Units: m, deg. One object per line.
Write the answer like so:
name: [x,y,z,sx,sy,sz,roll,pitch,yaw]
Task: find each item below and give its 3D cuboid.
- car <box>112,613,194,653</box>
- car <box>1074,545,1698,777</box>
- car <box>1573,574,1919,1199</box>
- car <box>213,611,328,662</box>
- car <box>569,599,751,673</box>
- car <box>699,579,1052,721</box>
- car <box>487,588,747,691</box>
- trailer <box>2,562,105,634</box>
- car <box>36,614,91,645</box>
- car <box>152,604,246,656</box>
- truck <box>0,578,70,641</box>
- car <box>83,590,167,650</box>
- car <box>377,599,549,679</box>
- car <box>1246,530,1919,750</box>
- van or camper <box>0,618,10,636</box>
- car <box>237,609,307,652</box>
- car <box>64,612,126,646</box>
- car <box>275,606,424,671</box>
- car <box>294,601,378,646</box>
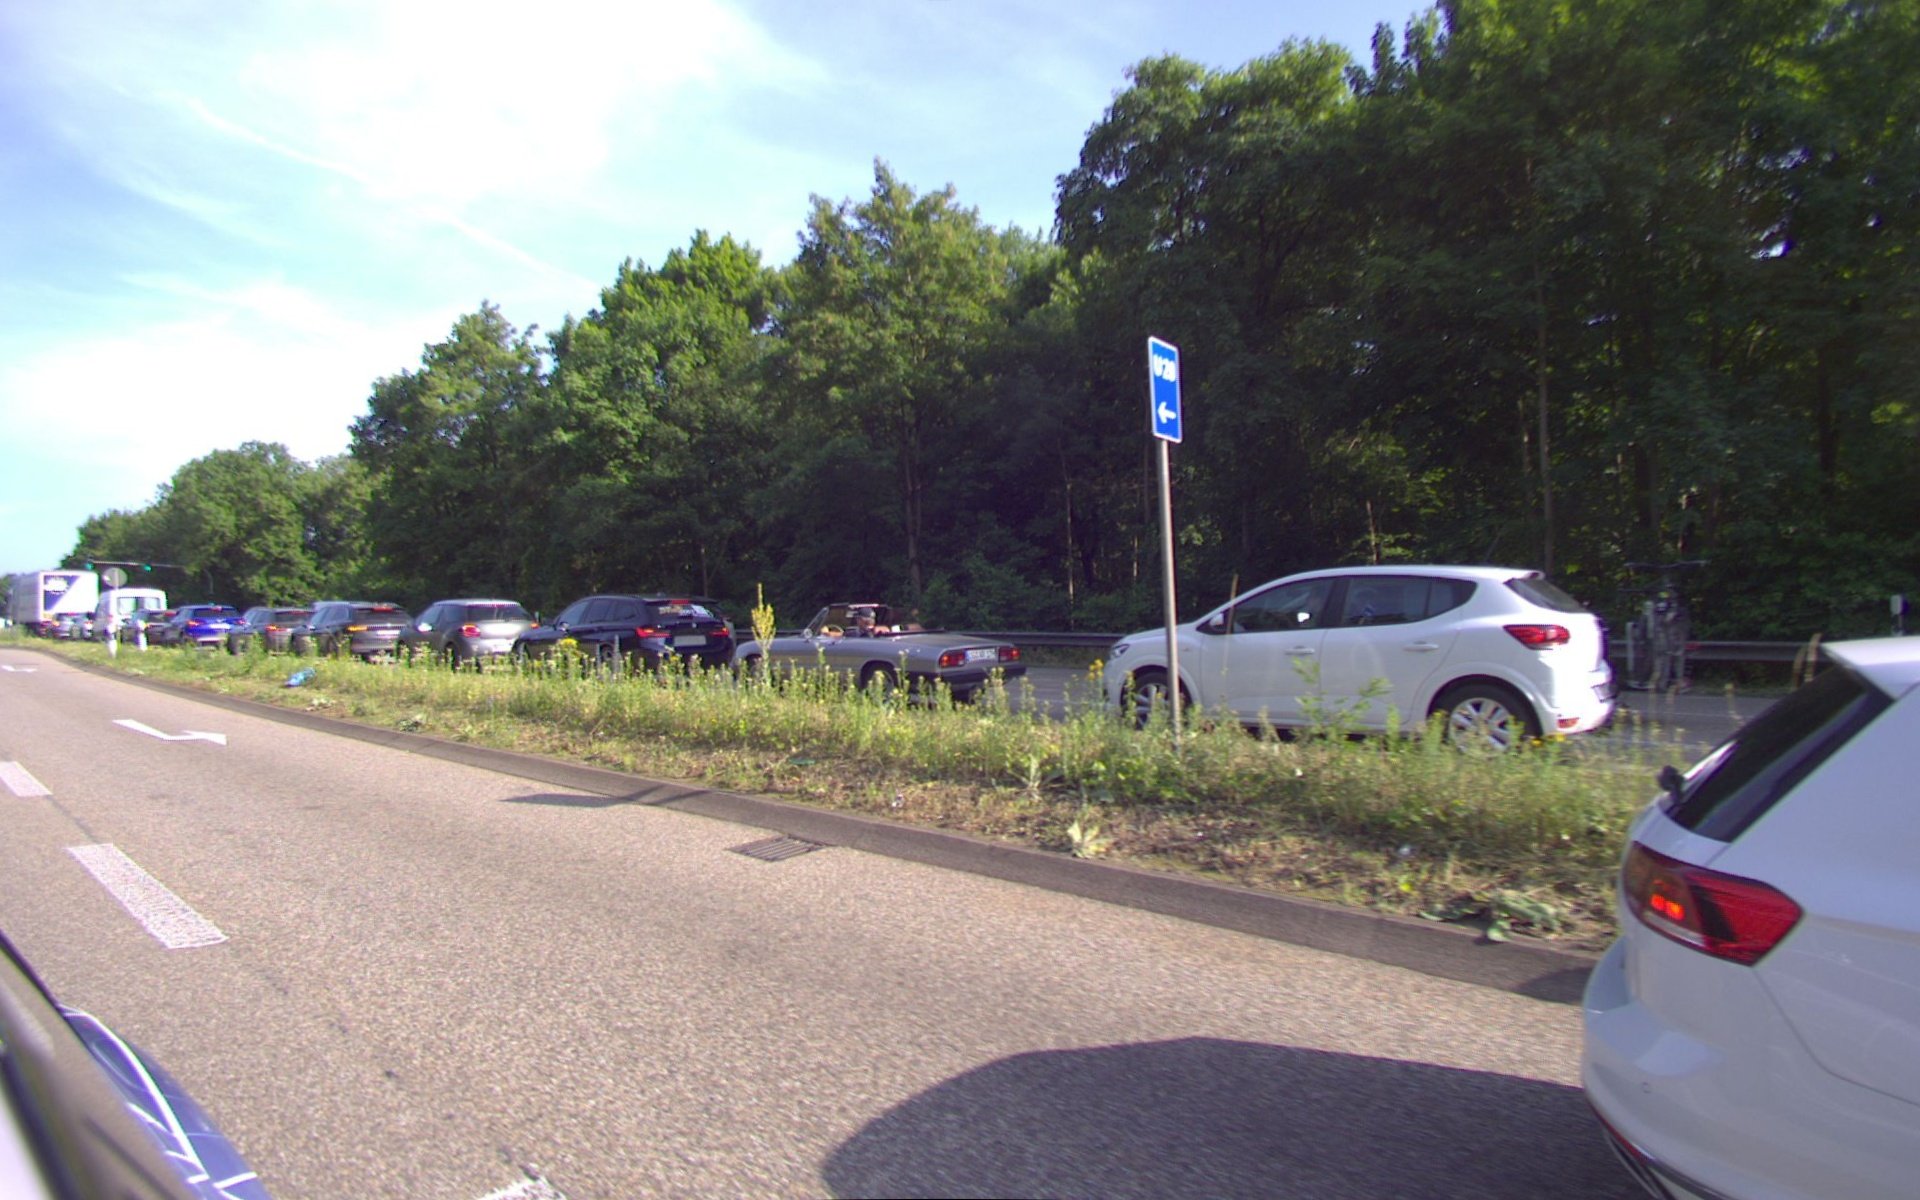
car: [-31.706,1.273,39.713,5.185,1.467,1.741,-2,-2,42]
car: [3.291,0.435,8.419,4.415,1.428,1.847,-2,-2,42]
car: [3.535,0.671,0.930,4.831,1.533,1.851,-2,0,41]
car: [-20.512,1.060,30.011,4.842,1.390,1.752,-2,-2,42]
car: [-6.691,0.768,22.298,4.415,1.472,1.847,-2,-2,42]
car: [-1.180,0.563,12.340,4.433,1.428,1.748,-2,-2,42]
car: [-5.753,0.617,16.552,5.192,1.434,1.748,-2,-2,42]
trailer: [-56.467,0.008,62.844,14.007,4.026,2.961,-2,1,41]
car: [-49.197,1.614,55.502,4.368,1.644,1.682,-2,-2,41]
car: [-26.568,1.035,35.265,4.799,1.682,1.752,-2,-2,42]
truck: [-62.593,0.677,68.244,6.717,4.027,2.861,-2,1,41]
car: [-37.636,0.933,45.538,6.162,2.553,2.053,-2,-2,42]
car: [-10.041,0.757,20.304,4.210,1.434,1.688,-2,-2,42]
car: [6.315,0.382,10.392,6.224,1.721,2.080,-2,-2,42]
van or camper: [-154.133,4.306,162.058,6.436,2.732,2.387,-2,-3,42]
car: [-29.120,1.300,42.806,3.573,1.719,1.608,-2,-4,42]
car: [-43.323,1.454,50.636,4.745,1.644,1.682,-2,-2,41]
car: [-15.189,0.929,25.043,5.191,1.434,1.752,-2,-2,42]
car: [-29.293,1.134,47.455,5.101,1.950,1.990,-2,-4,42]
